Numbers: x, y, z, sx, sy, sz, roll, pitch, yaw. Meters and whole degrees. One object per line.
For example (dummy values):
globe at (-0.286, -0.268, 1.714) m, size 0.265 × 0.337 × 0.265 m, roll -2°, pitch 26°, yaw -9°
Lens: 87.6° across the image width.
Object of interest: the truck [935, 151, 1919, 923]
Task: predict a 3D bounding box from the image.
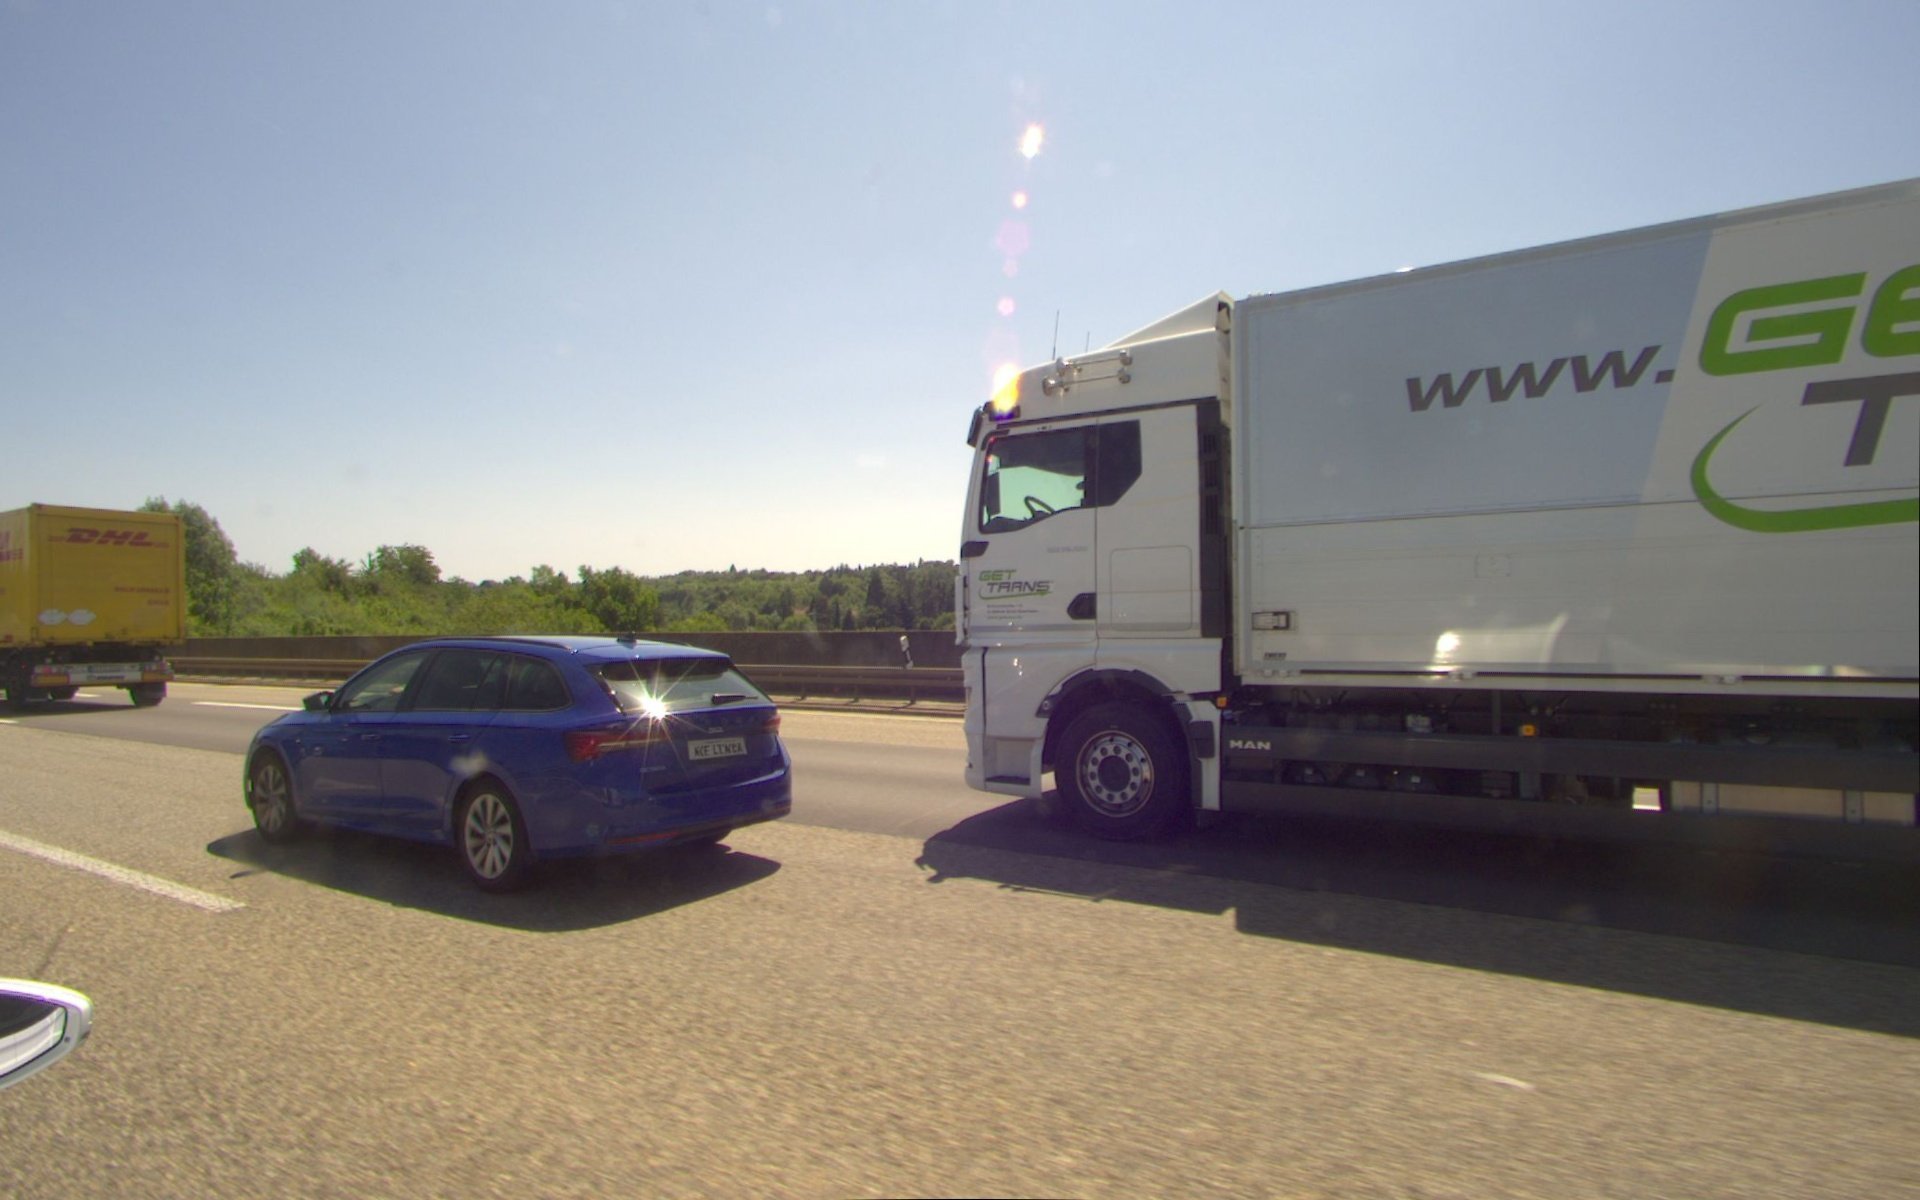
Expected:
truck at (5.055, -0.250, 6.077) m, size 10.613 × 3.648 × 2.847 m, roll -1°, pitch -2°, yaw 32°

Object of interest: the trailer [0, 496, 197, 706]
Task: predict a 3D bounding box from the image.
trailer at (-20.994, 0.204, 22.908) m, size 8.804 × 4.074 × 2.697 m, roll -2°, pitch -3°, yaw 32°

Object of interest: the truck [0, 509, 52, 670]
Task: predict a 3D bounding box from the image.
truck at (-29.028, -0.124, 28.033) m, size 10.190 × 4.105 × 2.718 m, roll -2°, pitch -3°, yaw 32°

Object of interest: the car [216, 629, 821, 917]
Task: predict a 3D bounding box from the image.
car at (-3.225, 0.946, 6.996) m, size 4.436 × 1.459 × 1.707 m, roll -1°, pitch -2°, yaw 32°
